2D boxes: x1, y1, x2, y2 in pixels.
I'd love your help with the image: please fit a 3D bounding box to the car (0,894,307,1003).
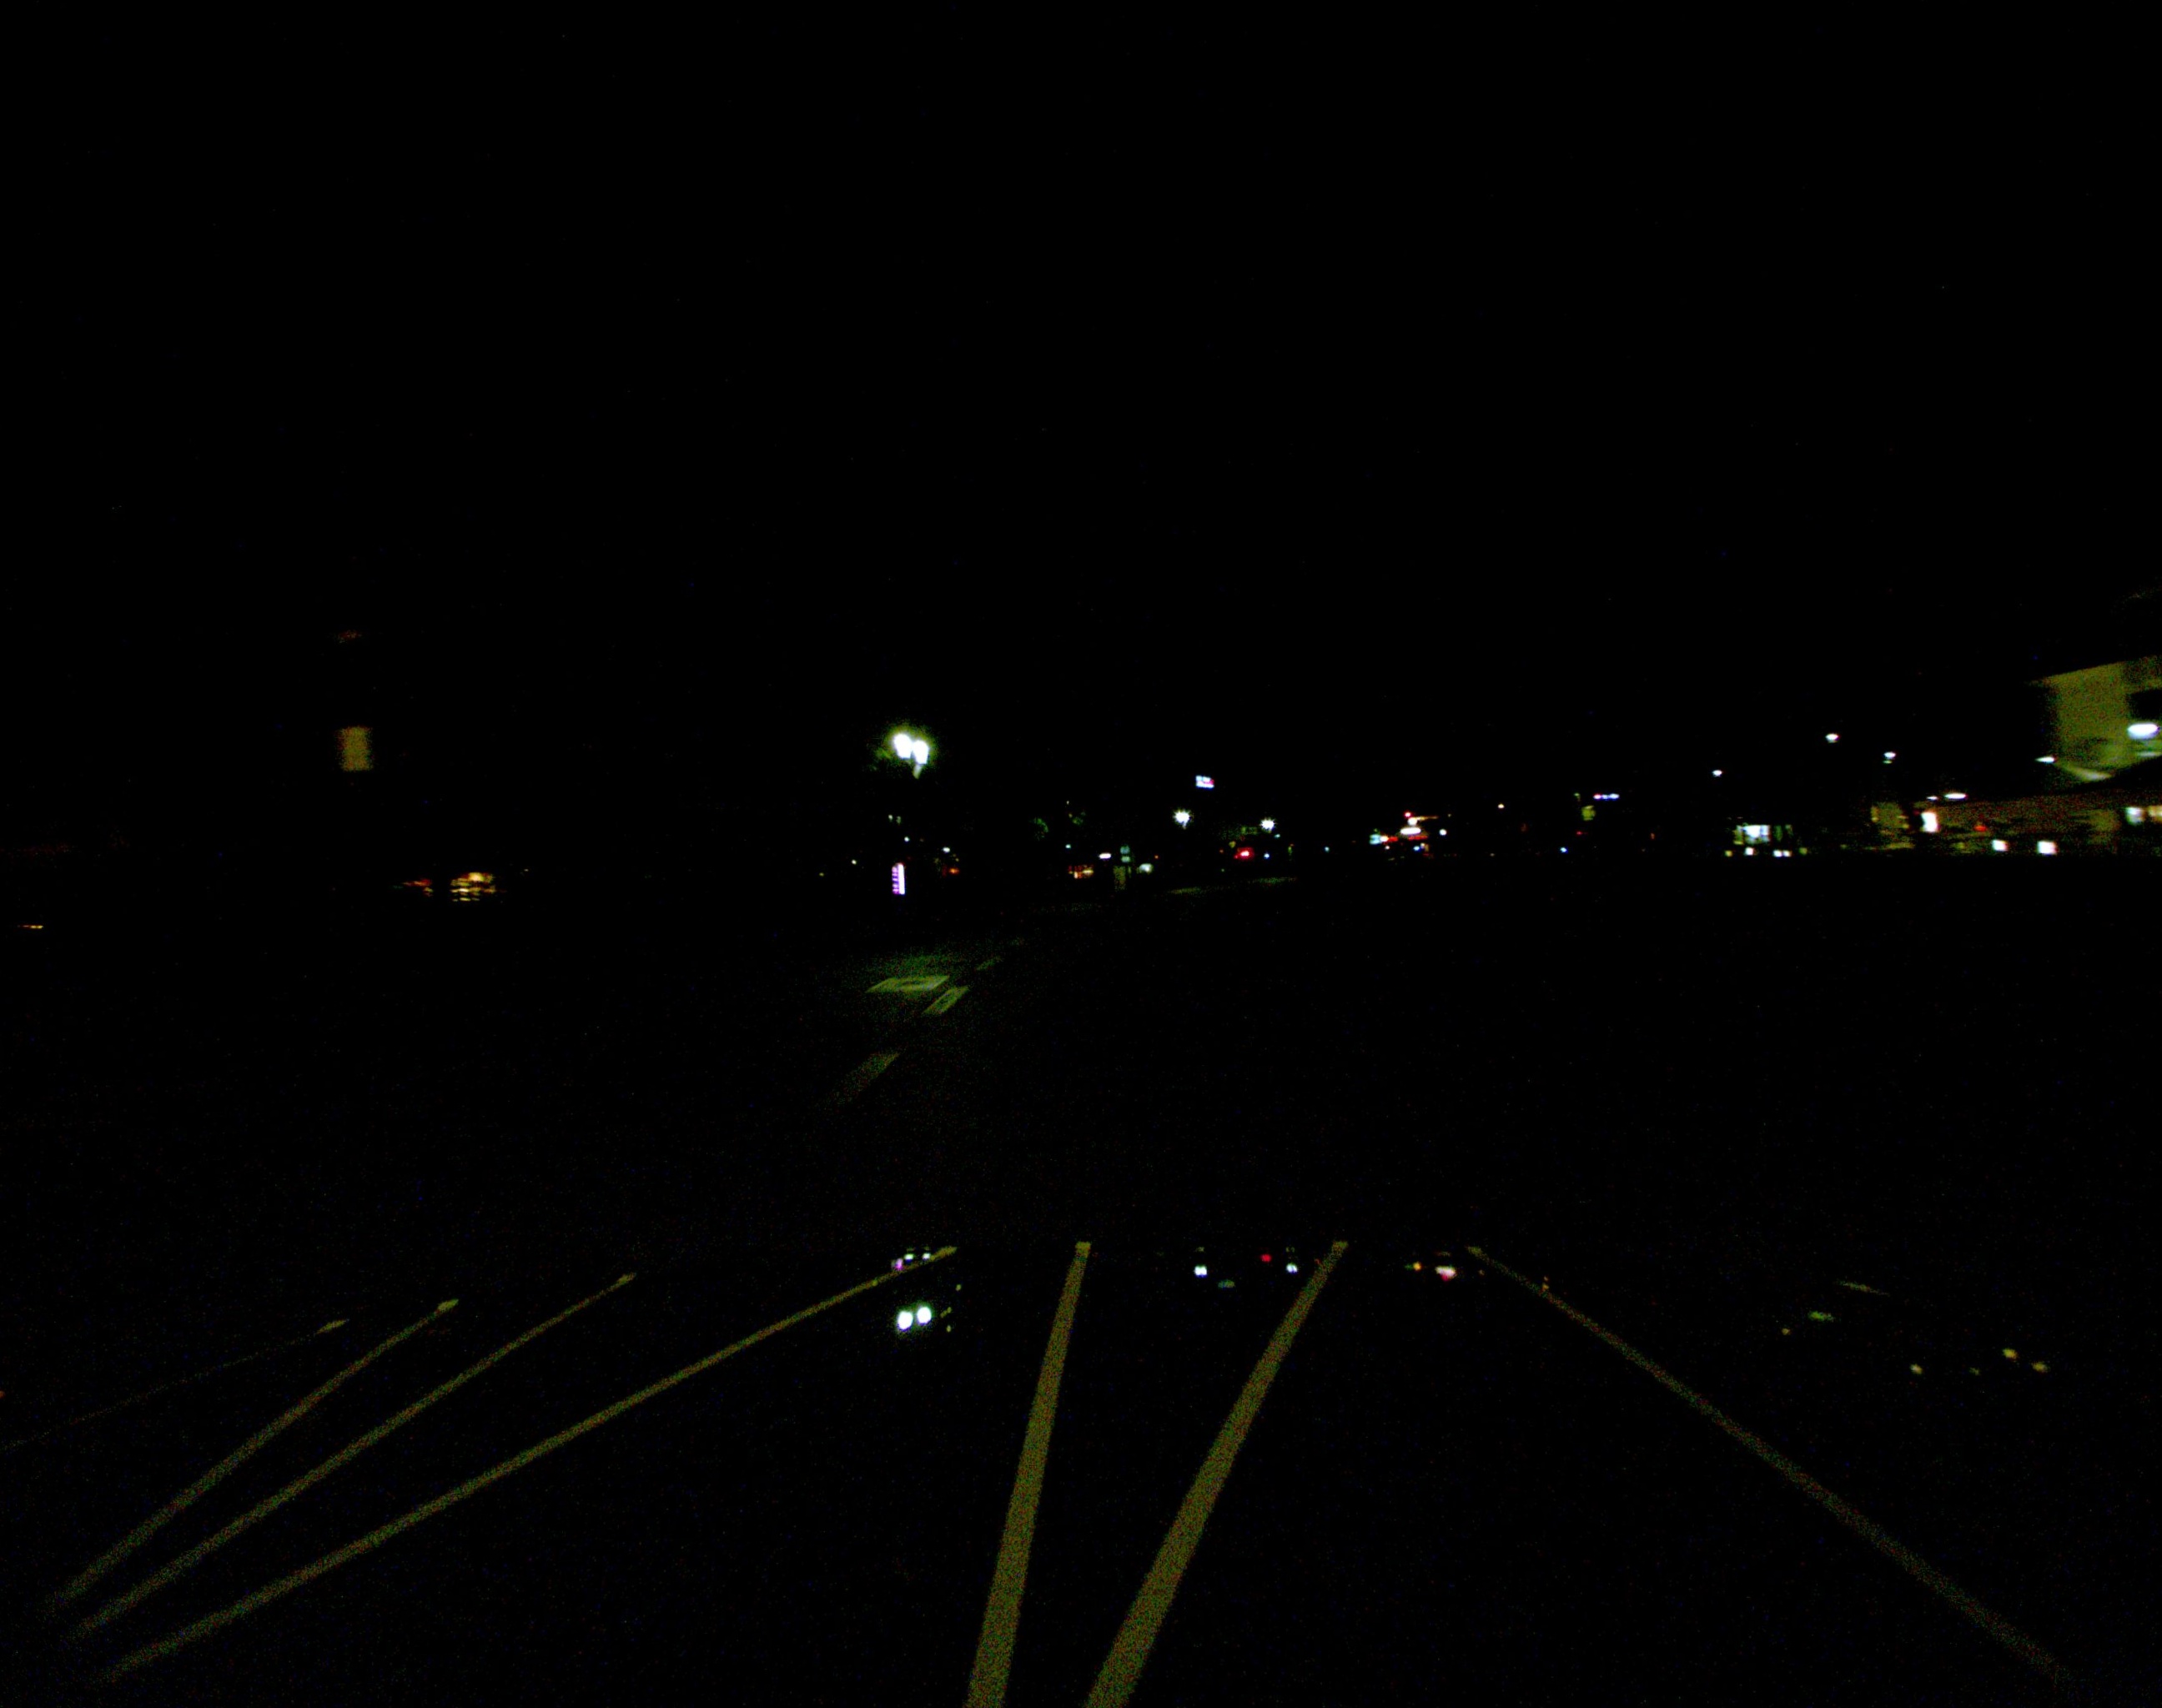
[{"bbox_3d":[-18.363,1.745,14.940,1.999,1.683,4.214,-4,-2,-2],"label":"car"}]
